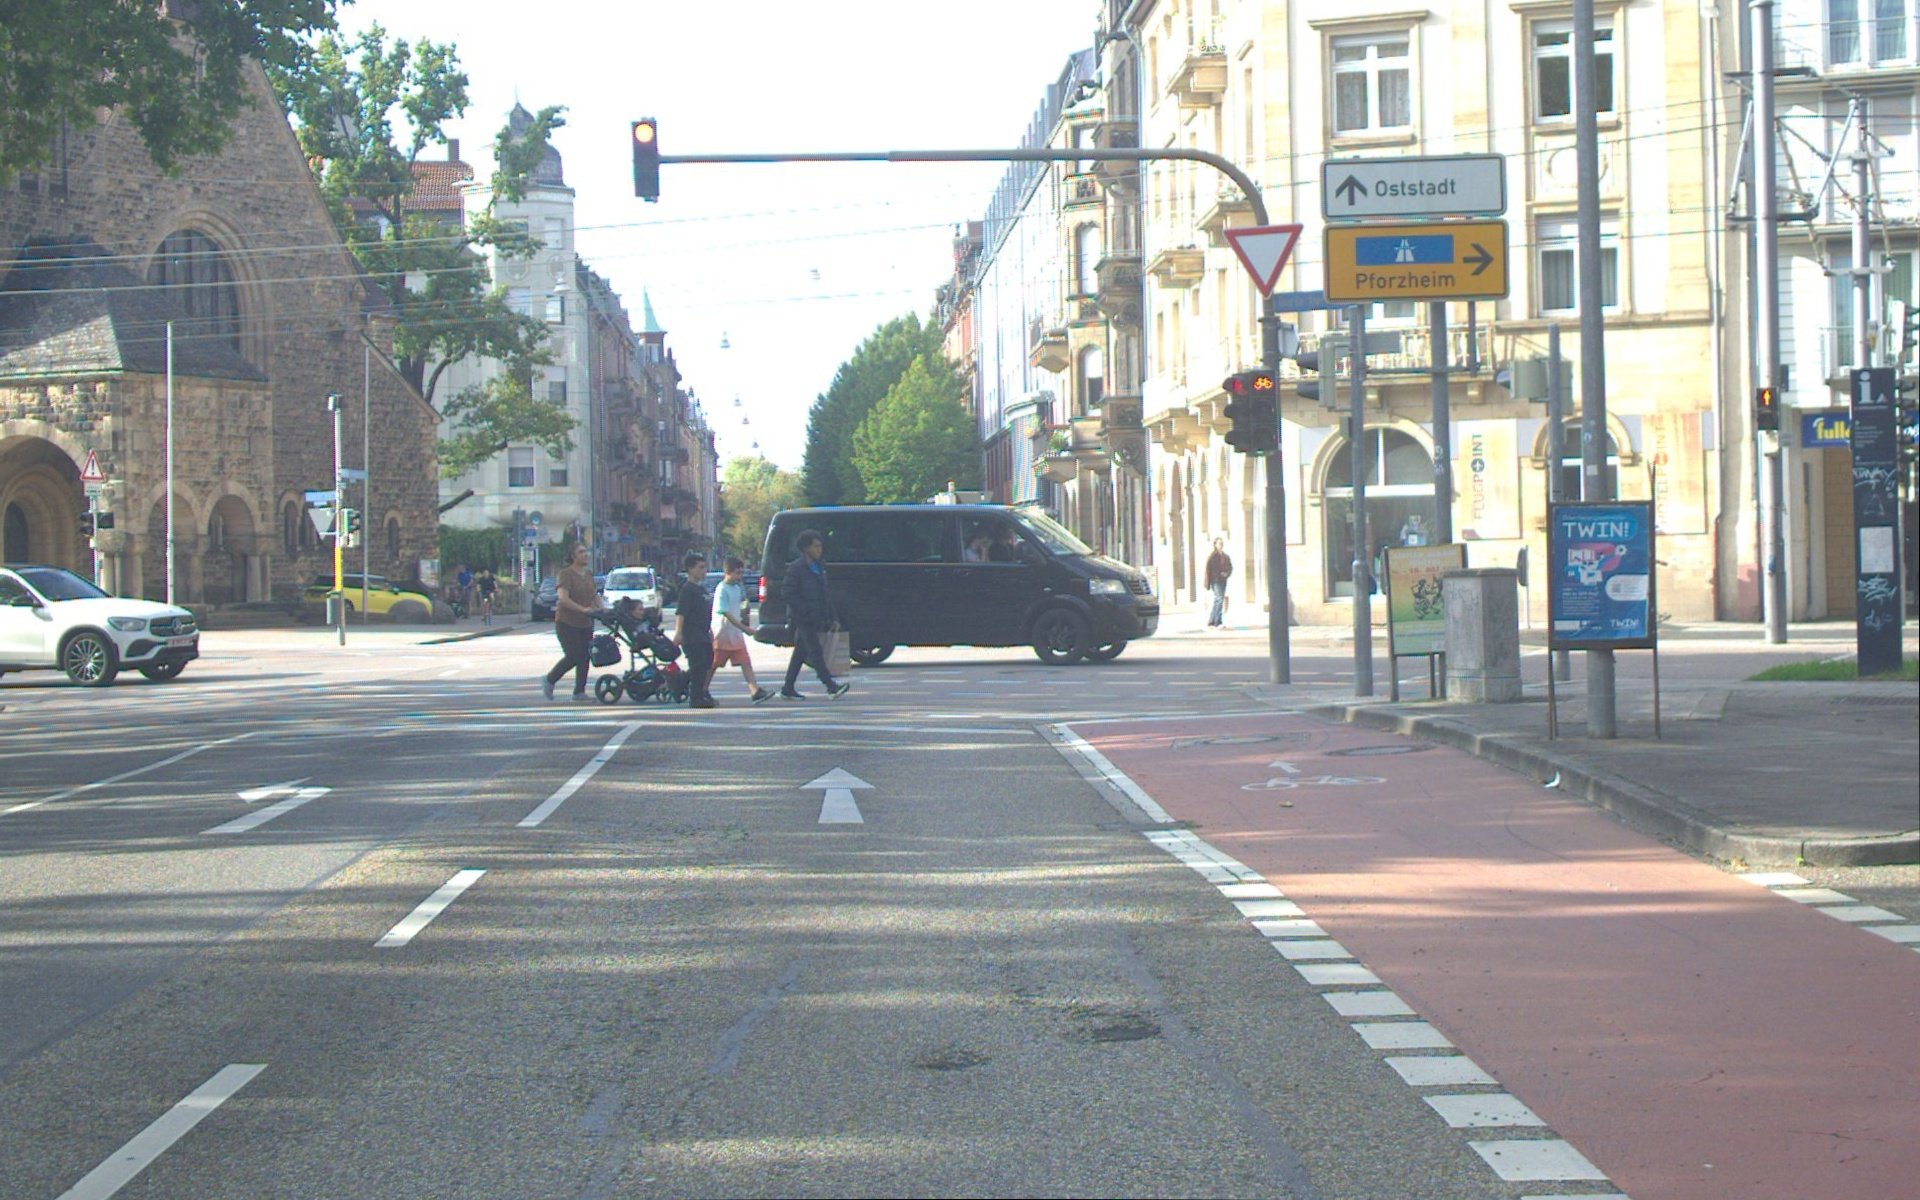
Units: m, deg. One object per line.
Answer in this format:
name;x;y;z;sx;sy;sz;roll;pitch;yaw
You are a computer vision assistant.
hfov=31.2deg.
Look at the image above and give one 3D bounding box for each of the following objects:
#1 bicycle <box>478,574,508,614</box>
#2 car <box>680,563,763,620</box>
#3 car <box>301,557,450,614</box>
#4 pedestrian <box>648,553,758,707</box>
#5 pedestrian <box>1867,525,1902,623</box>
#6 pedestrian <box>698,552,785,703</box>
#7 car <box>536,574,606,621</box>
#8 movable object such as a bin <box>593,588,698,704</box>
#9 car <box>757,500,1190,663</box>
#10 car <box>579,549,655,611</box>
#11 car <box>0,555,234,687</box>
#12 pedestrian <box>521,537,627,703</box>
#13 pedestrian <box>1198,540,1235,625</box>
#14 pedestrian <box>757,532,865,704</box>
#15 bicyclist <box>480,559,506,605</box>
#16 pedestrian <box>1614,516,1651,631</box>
bicycle;-14.050;-0.180;103.406;0.691;1.177;1.919;-1;1;-2
car;-6.055;-0.241;87.707;1.949;1.367;4.000;-1;1;-2
car;-17.534;-0.447;103.170;3.989;1.590;1.868;-2;1;-40
pedestrian;-2.431;0.277;32.579;0.782;1.427;0.730;-1;1;21
pedestrian;16.321;-0.459;60.683;0.496;1.708;0.526;2;0;23
pedestrian;-2.103;0.262;33.117;0.656;1.427;0.498;-1;1;21
car;-12.956;-0.101;114.661;1.993;1.492;4.000;-1;1;-2
movable object such as a bin;-3.089;0.452;33.762;0.838;1.120;0.575;-1;1;22
car;0.181;-0.222;41.777;4.847;1.864;2.030;-1;1;18
car;-10.064;-0.608;101.178;1.949;1.744;4.000;-1;1;-2
car;-12.332;0.279;46.017;4.710;1.677;2.015;-1;1;18
pedestrian;-3.818;0.195;34.015;0.815;1.623;0.604;-1;1;23
pedestrian;4.950;-0.335;66.310;0.562;1.618;0.600;-1;1;20
pedestrian;-1.456;0.172;33.645;0.782;1.656;0.778;-1;1;21
bicyclist;-14.054;-0.532;103.431;0.683;1.363;0.780;-1;1;-2
pedestrian;12.305;-0.490;62.891;0.526;2.086;0.496;2;0;24
